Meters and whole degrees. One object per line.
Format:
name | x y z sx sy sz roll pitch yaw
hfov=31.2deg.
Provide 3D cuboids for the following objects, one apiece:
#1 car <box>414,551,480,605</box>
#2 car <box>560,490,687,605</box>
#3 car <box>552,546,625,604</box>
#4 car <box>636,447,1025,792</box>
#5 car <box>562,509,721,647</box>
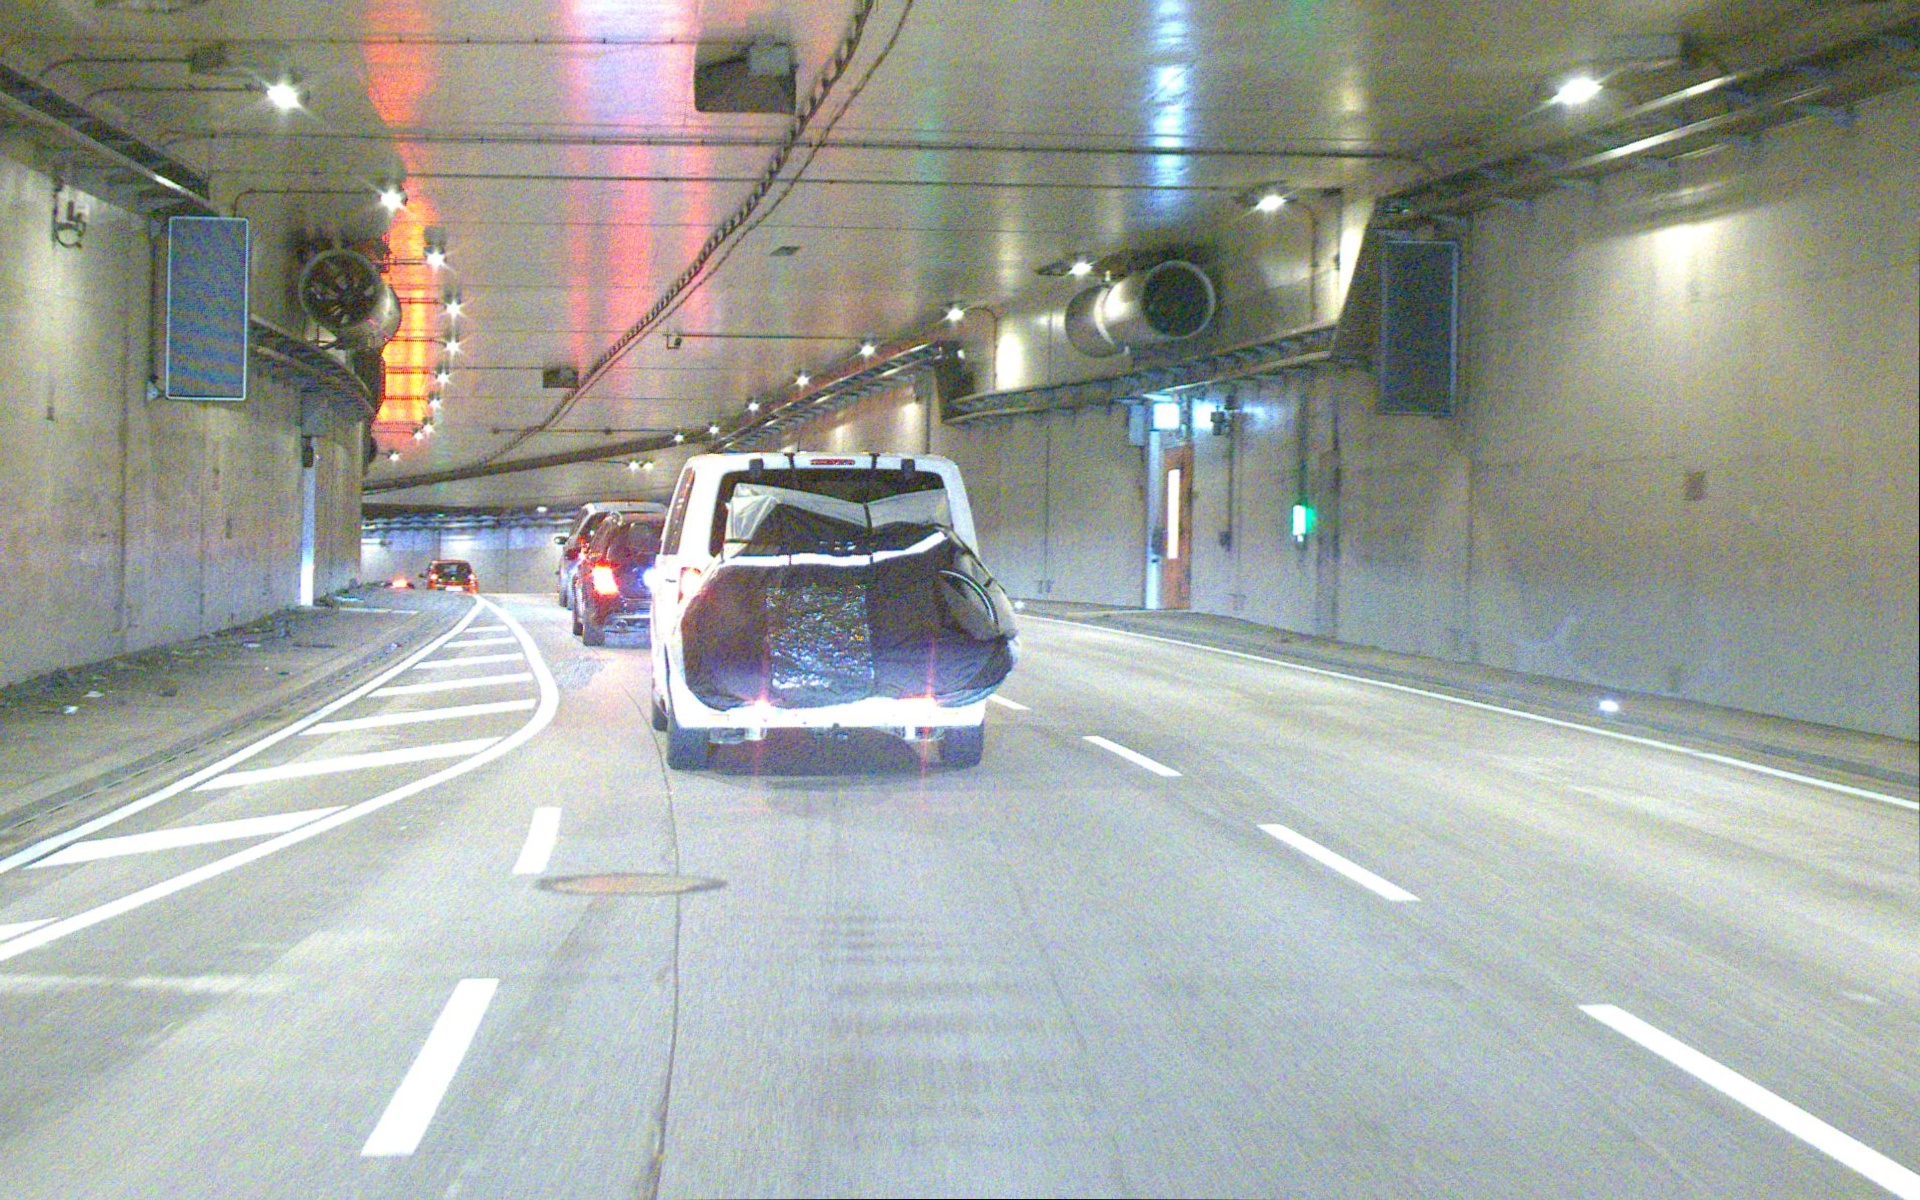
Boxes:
car | -16.534 -0.698 110.712 1.822 1.625 3.844 2 -1 -12
car | -4.942 -0.742 50.192 1.602 1.588 3.356 1 0 -9
car | -11.319 -0.737 104.597 1.822 1.625 3.844 2 -1 -11
car | -0.940 0.023 21.126 1.993 1.841 5.303 0 2 -6
car | -3.454 -0.266 36.887 1.602 1.390 3.278 1 1 -7
